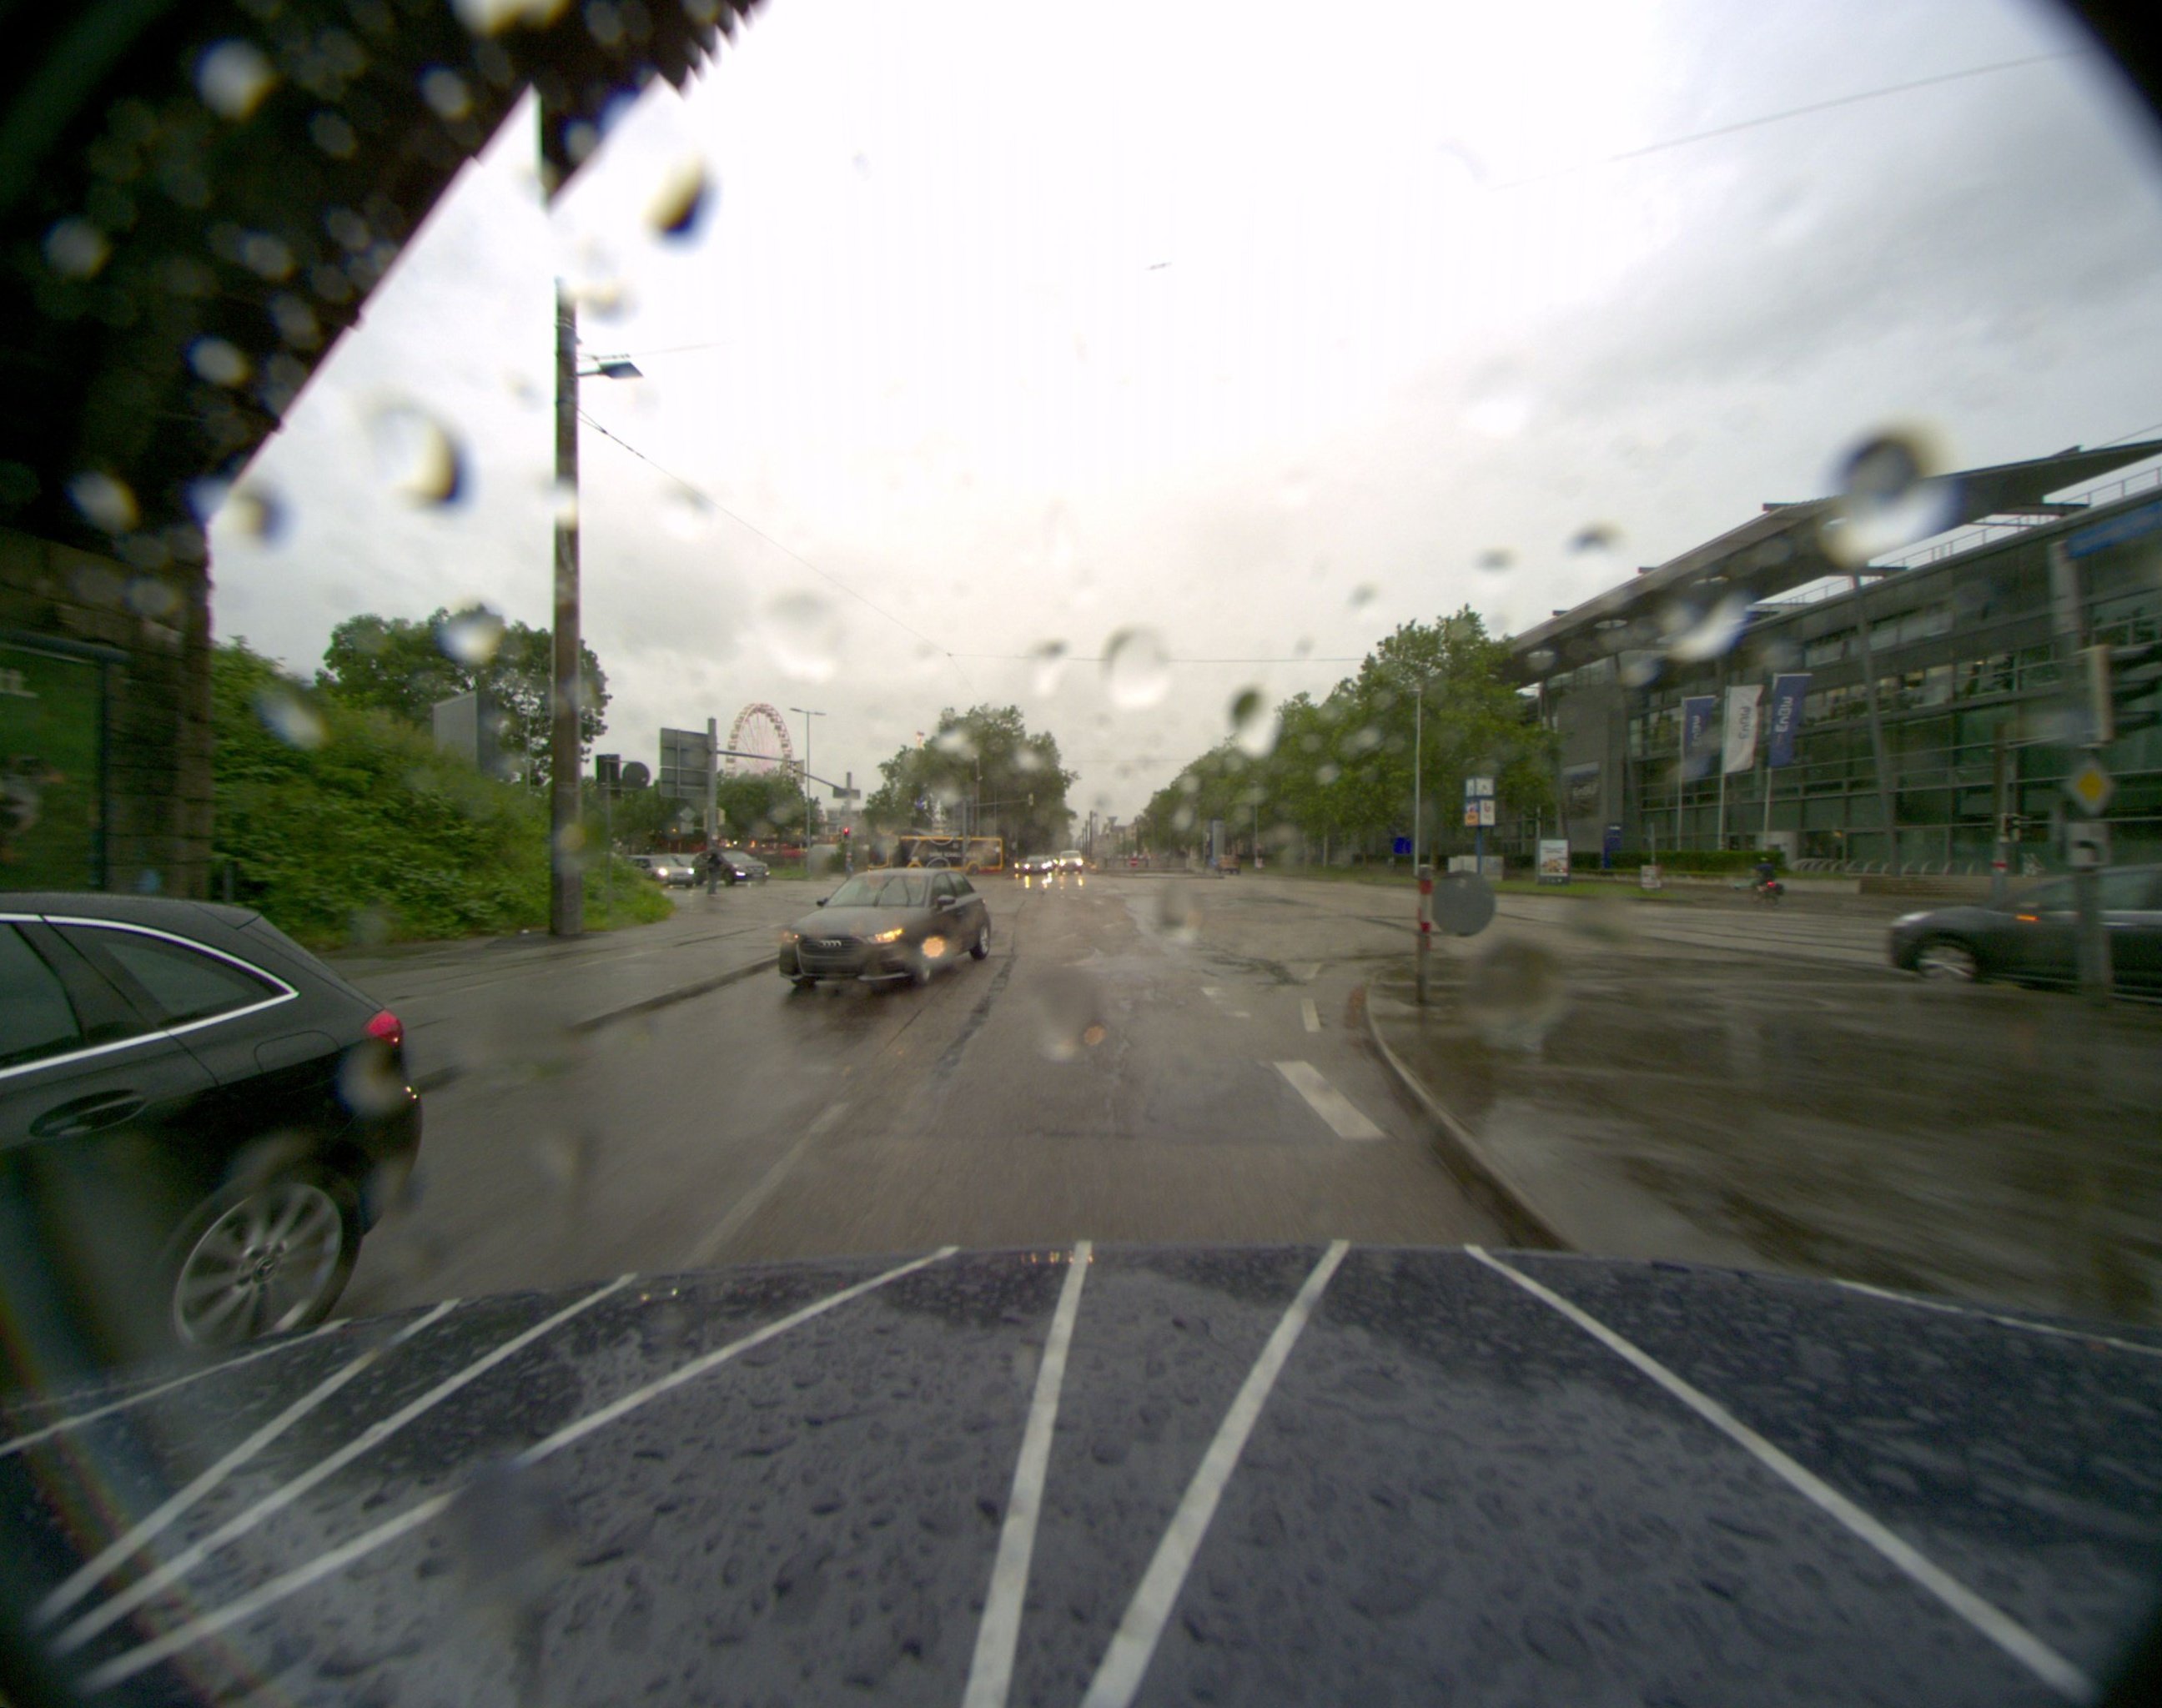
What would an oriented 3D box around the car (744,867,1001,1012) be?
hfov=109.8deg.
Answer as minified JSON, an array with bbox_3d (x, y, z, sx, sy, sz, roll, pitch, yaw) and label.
[{"bbox_3d":[-2.474,0.962,10.087,1.839,1.390,3.755,-1,1,9],"label":"car"}]

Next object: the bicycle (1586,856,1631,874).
[{"bbox_3d":[40.977,0.853,59.005,3.701,1.324,1.189,1,1,-27],"label":"bicycle"}]

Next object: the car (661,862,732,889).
[{"bbox_3d":[-22.254,1.223,43.974,3.988,1.350,1.837,1,1,31],"label":"car"}]

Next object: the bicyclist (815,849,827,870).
[{"bbox_3d":[-23.133,0.510,67.568,0.620,1.871,0.771,1,2,35],"label":"bicyclist"}]

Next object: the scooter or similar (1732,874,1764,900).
[{"bbox_3d":[30.930,1.516,35.240,0.341,1.132,1.174,1,1,-4],"label":"scooter or similar"}]

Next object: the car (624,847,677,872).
[{"bbox_3d":[-30.961,0.361,54.620,3.988,1.710,1.608,1,1,32],"label":"car"}]

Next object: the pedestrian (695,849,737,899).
[{"bbox_3d":[-12.695,0.684,26.423,0.817,1.709,1.007,1,1,27],"label":"pedestrian"}]

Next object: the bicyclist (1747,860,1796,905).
[{"bbox_3d":[24.703,1.020,27.192,0.804,1.584,1.048,1,-1,4],"label":"bicyclist"}]

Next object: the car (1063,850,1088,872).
[{"bbox_3d":[-0.485,0.579,65.214,2.077,1.838,4.745,1,0,-1],"label":"car"}]

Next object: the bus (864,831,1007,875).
[{"bbox_3d":[-11.720,-0.076,62.985,3.264,3.249,12.317,1,1,41],"label":"bus"}]

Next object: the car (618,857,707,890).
[{"bbox_3d":[-19.287,0.848,34.995,3.988,1.341,1.902,2,1,33],"label":"car"}]

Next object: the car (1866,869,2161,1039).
[{"bbox_3d":[10.969,0.984,7.655,1.660,1.537,3.996,1,1,-9],"label":"car"}]

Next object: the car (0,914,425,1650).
[{"bbox_3d":[-3.301,0.999,0.665,1.875,1.515,4.086,-1,0,0],"label":"car"}]

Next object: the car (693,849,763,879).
[{"bbox_3d":[-22.070,0.610,47.515,4.289,1.710,2.181,1,1,37],"label":"car"}]

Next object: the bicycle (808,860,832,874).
[{"bbox_3d":[-23.203,1.169,67.622,2.253,1.158,0.823,1,1,34],"label":"bicycle"}]

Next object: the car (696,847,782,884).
[{"bbox_3d":[-16.621,0.535,36.882,4.049,1.647,2.033,1,1,36],"label":"car"}]

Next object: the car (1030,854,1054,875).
[{"bbox_3d":[-3.222,0.886,63.421,1.932,1.641,4.341,1,0,-2],"label":"car"}]

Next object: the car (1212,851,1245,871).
[{"bbox_3d":[12.634,0.587,65.262,1.905,1.622,4.169,1,0,-2],"label":"car"}]

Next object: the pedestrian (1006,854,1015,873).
[{"bbox_3d":[-6.379,0.858,68.657,0.644,1.641,0.626,1,0,6],"label":"pedestrian"}]

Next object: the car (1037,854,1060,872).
[{"bbox_3d":[-3.409,0.918,79.684,1.891,1.744,3.996,1,0,-10],"label":"car"}]

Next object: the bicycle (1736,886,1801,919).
[{"bbox_3d":[24.691,1.725,27.348,0.694,1.088,1.914,2,-1,4],"label":"bicycle"}]
